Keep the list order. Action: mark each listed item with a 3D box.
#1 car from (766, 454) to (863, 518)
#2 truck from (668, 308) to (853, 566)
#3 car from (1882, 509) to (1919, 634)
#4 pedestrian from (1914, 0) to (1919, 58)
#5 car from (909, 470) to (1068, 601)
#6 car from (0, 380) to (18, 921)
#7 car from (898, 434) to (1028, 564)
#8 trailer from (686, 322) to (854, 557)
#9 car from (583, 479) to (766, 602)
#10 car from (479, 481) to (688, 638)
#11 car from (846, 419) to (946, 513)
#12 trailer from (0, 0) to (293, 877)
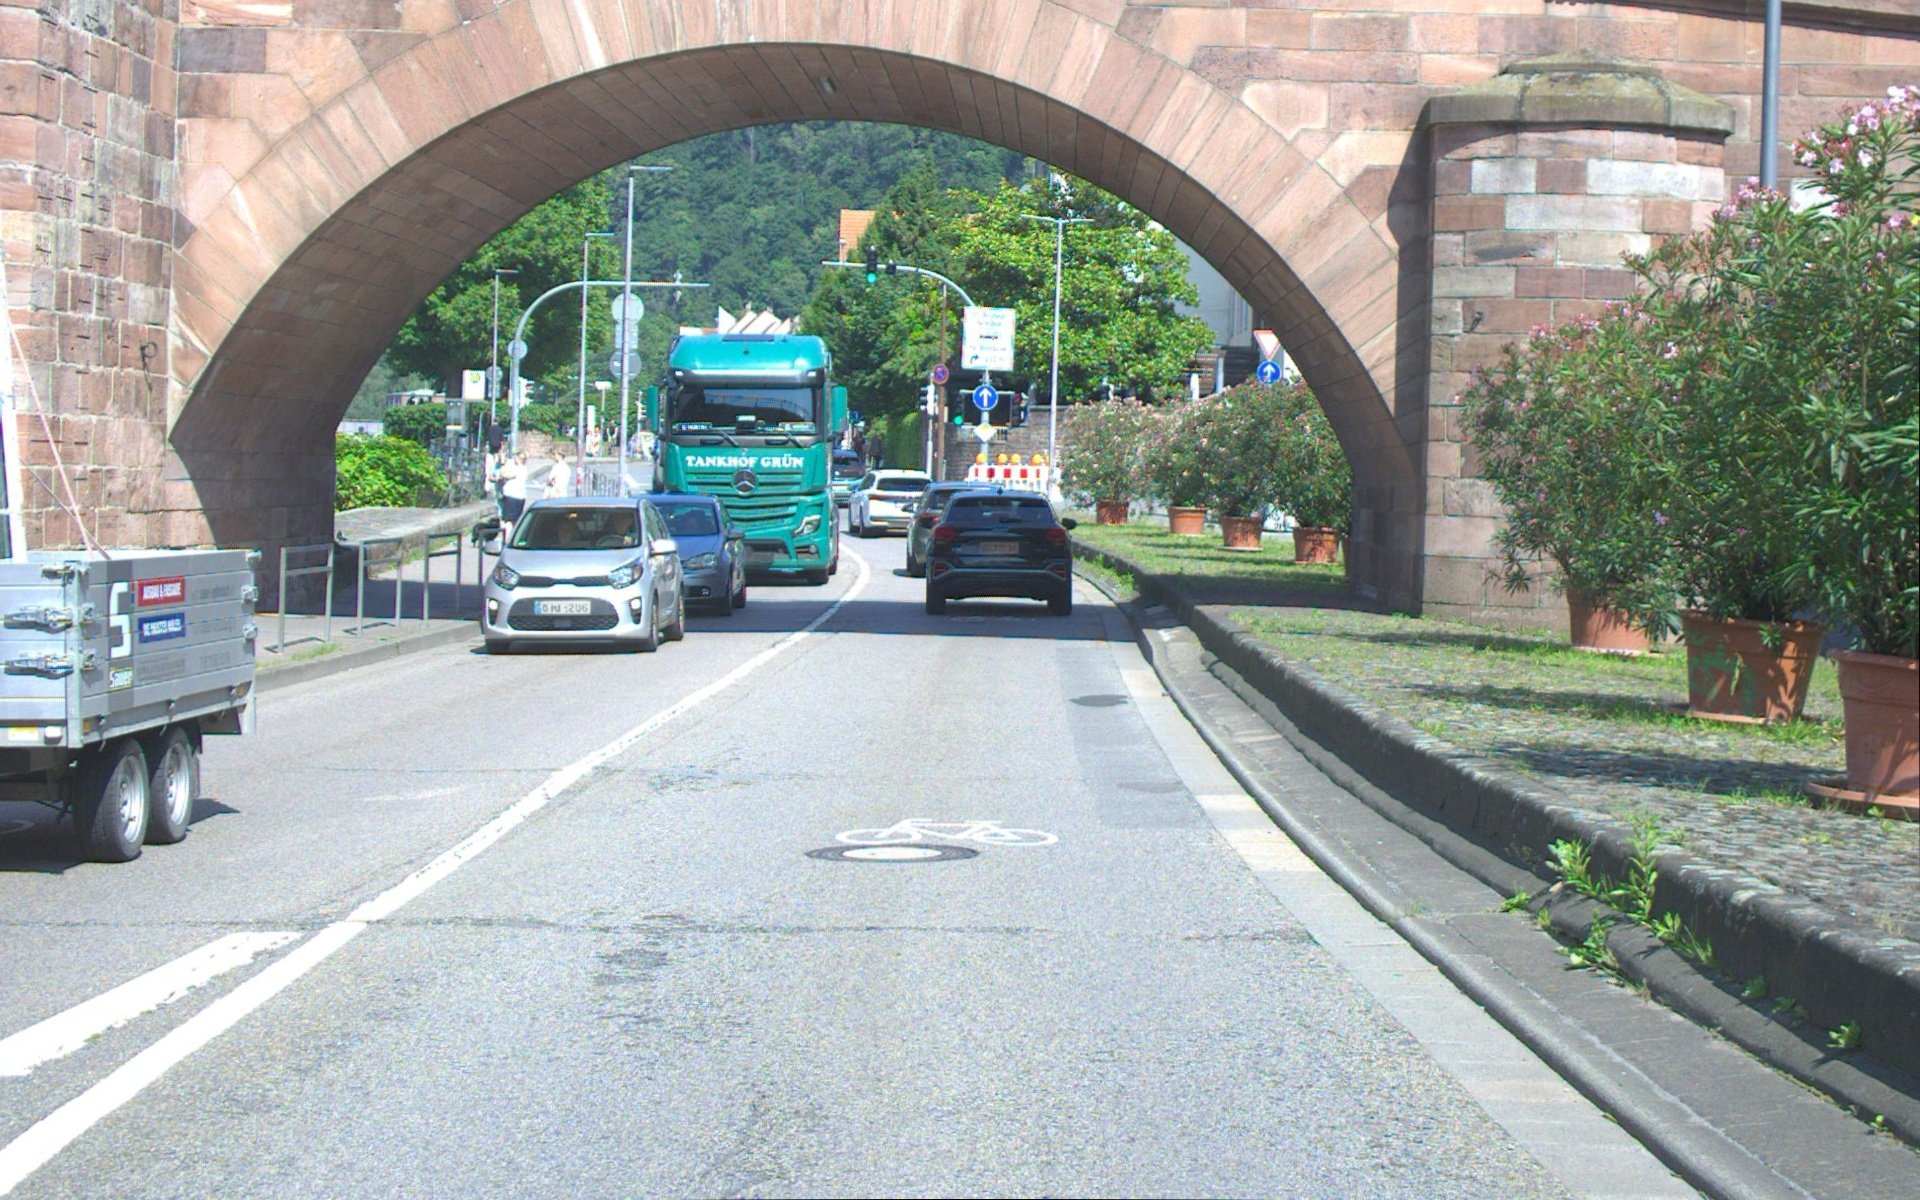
[{"bbox_3d":[-3.980,-3.081,93.273,1.993,1.656,4.001,1,1,-11],"label":"car"},{"bbox_3d":[-2.992,-2.538,53.070,2.523,3.735,6.247,0,3,0],"label":"truck"},{"bbox_3d":[12.561,-0.321,41.545,1.893,1.487,4.416,1,2,4],"label":"car"},{"bbox_3d":[10.744,-6.901,37.133,0.684,2.007,0.586,1,1,1],"label":"pedestrian"},{"bbox_3d":[0.345,-0.815,42.518,1.857,1.518,4.000,1,2,0],"label":"car"},{"bbox_3d":[-4.244,0.248,9.515,1.874,1.821,4.544,0,2,2],"label":"car"},{"bbox_3d":[0.012,-1.640,55.735,1.993,2.007,4.001,1,2,-1],"label":"car"},{"bbox_3d":[-3.120,-2.765,59.099,2.523,3.631,11.533,0,3,-1],"label":"trailer"},{"bbox_3d":[-3.452,-0.756,42.272,1.723,1.432,4.400,0,2,2],"label":"car"},{"bbox_3d":[-3.603,-0.433,33.412,1.535,1.432,3.728,0,2,1],"label":"car"},{"bbox_3d":[-1.435,-2.930,75.727,1.993,2.007,4.001,1,2,-4],"label":"car"},{"bbox_3d":[-4.116,-0.659,14.617,1.742,3.309,3.384,0,2,3],"label":"trailer"}]
